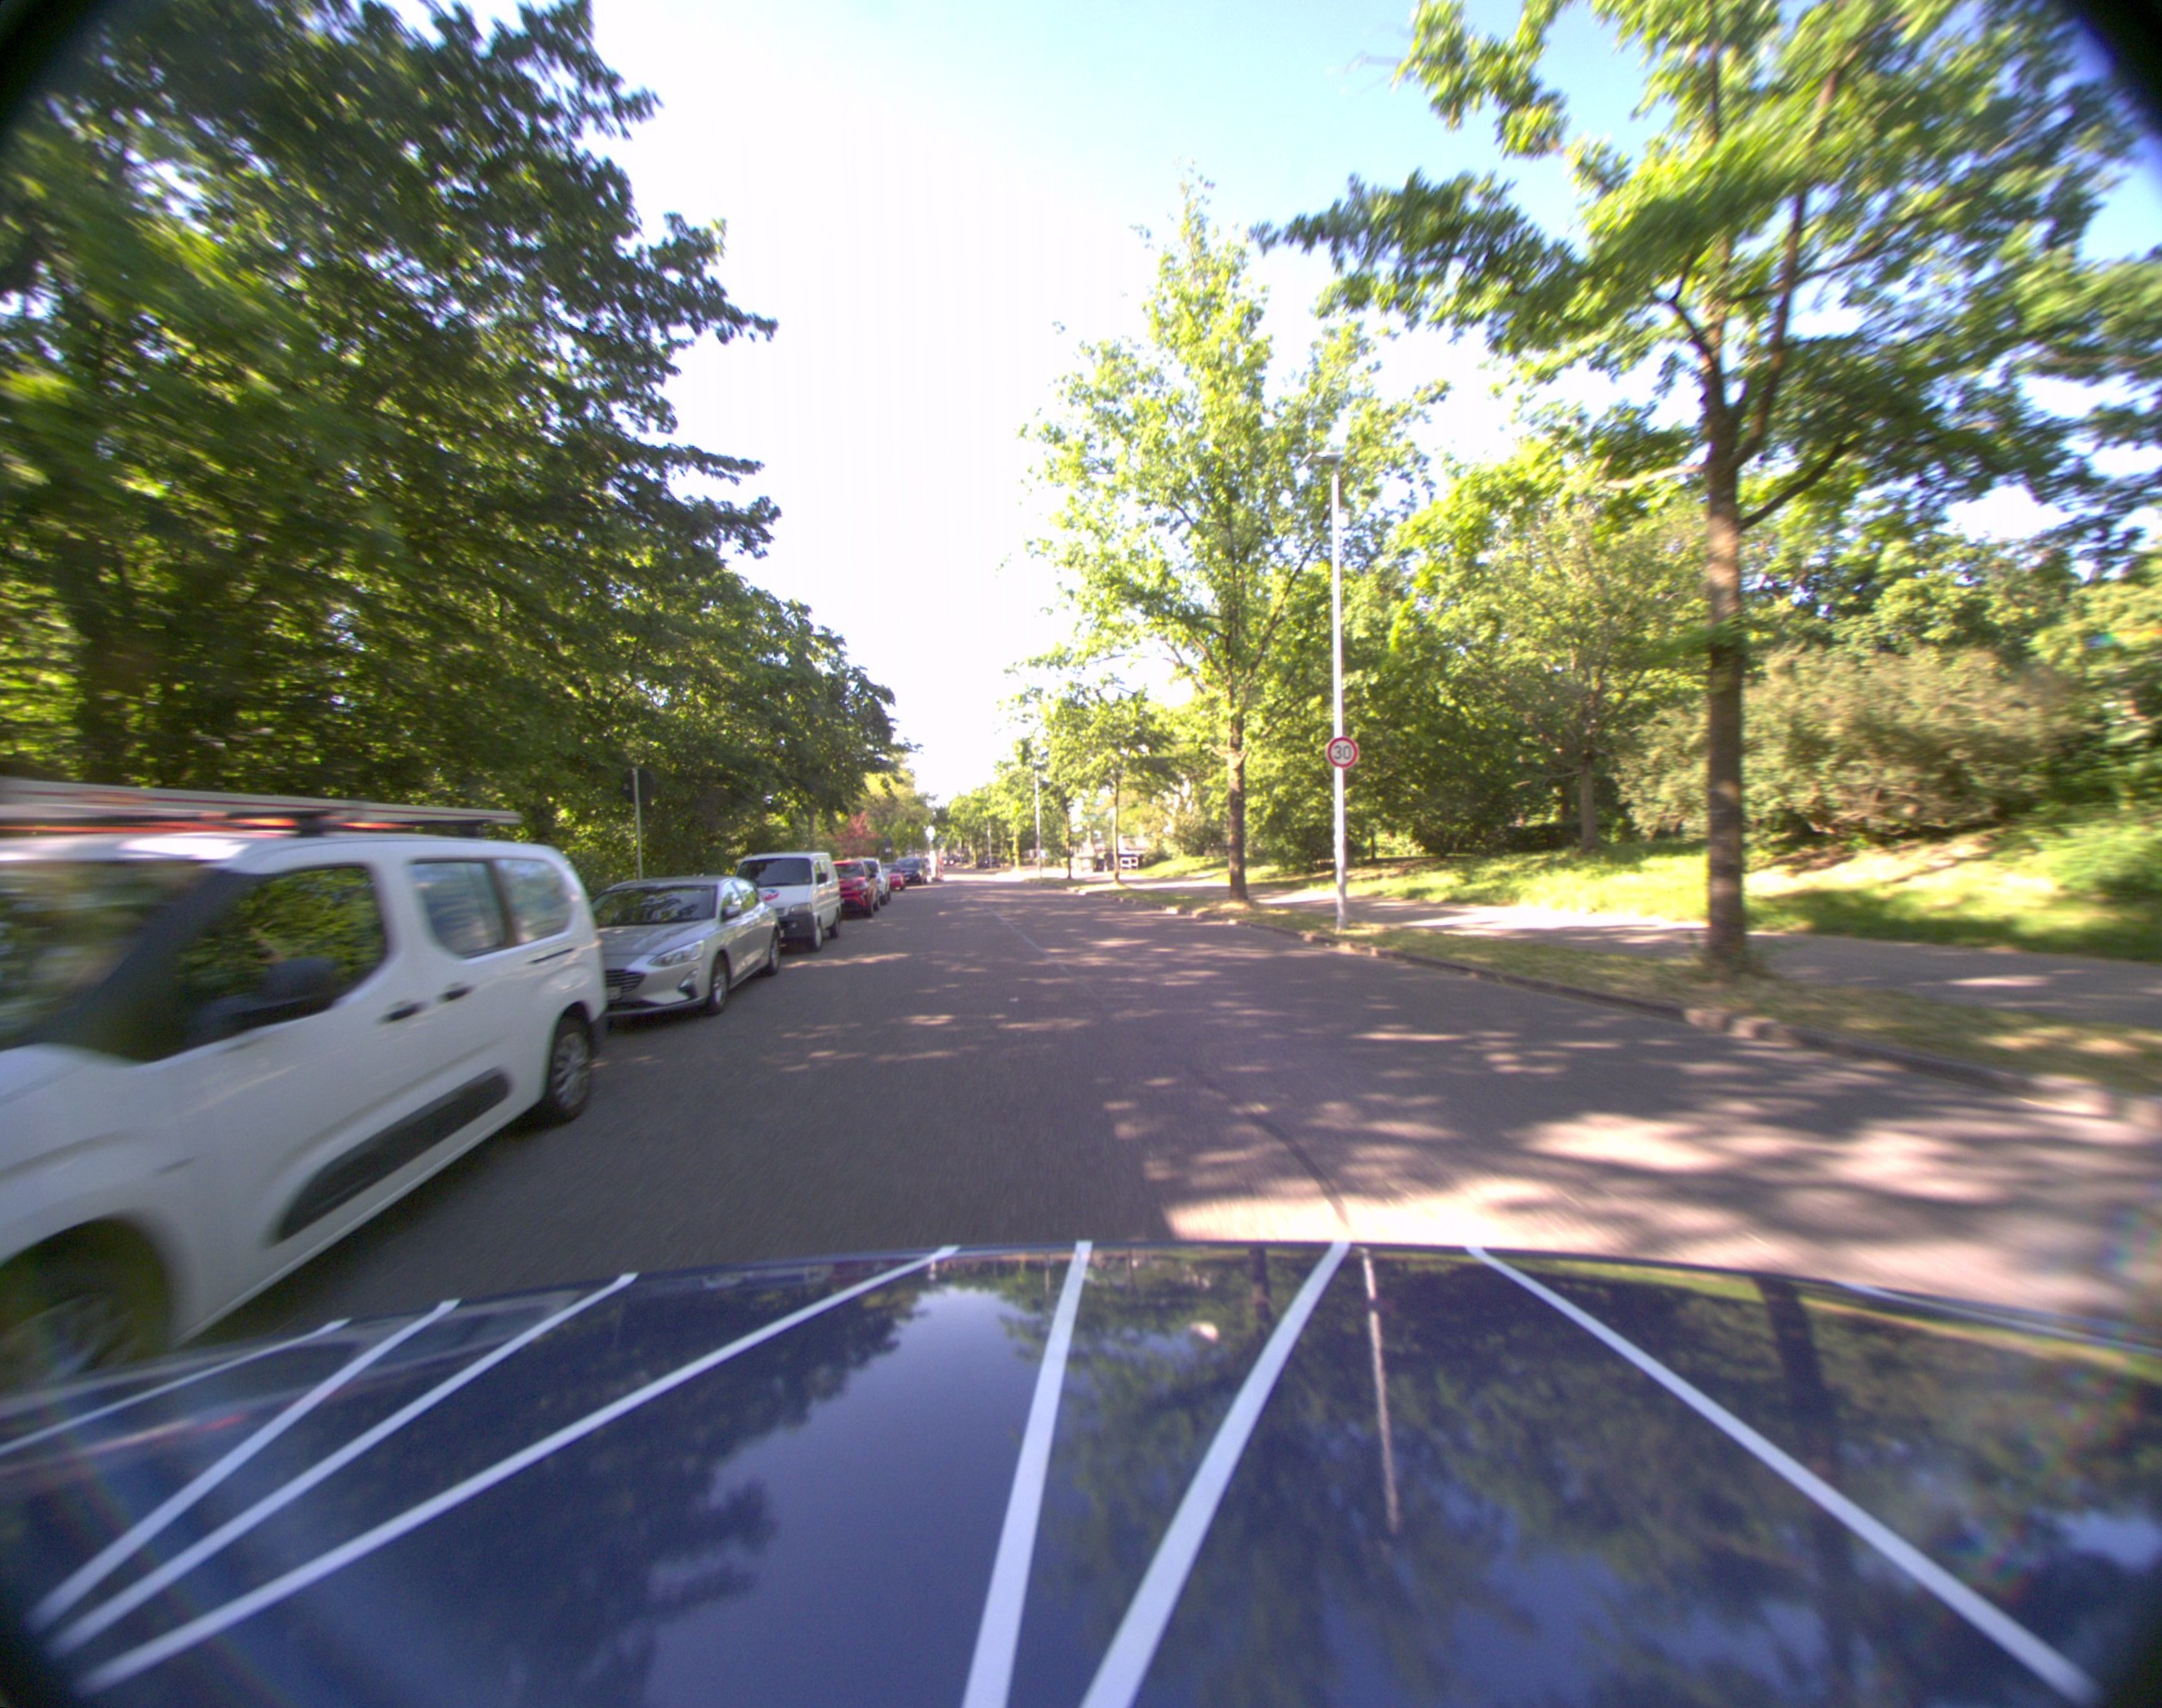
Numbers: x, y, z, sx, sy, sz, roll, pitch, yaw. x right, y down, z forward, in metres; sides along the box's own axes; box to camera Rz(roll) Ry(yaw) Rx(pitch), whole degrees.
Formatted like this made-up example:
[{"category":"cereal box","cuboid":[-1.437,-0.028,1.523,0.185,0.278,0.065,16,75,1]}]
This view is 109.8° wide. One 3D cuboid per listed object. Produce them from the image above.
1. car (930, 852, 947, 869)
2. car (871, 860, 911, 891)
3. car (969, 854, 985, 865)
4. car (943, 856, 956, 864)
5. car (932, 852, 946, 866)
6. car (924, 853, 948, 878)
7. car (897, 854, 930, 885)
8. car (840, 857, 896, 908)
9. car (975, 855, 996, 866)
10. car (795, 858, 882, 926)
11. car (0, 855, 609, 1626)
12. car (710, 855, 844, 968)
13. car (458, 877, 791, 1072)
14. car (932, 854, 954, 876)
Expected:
[{"category":"car","cuboid":[-14.422,0.630,77.166,1.422,1.644,3.907,-2,1,-8]},{"category":"car","cuboid":[-9.394,1.042,37.739,1.501,1.351,3.464,-2,1,-8]},{"category":"car","cuboid":[-15.995,0.790,116.895,2.001,1.574,3.995,-1,1,-12]},{"category":"car","cuboid":[-23.438,0.994,135.445,2.001,1.359,3.995,-1,1,-12]},{"category":"car","cuboid":[-16.907,0.589,90.380,1.422,1.644,3.907,-2,1,-8]},{"category":"car","cuboid":[-10.184,0.765,53.590,1.450,1.644,3.717,-2,1,-8]},{"category":"car","cuboid":[-9.718,0.880,44.281,1.501,1.644,4.088,-2,1,-8]},{"category":"car","cuboid":[-7.526,0.951,27.095,1.501,1.629,3.749,-2,1,-10]},{"category":"car","cuboid":[-12.245,0.794,97.279,2.001,1.359,3.994,-1,1,-16]},{"category":"car","cuboid":[-6.703,0.984,21.370,1.774,1.629,3.749,-2,1,-10]},{"category":"car","cuboid":[-3.651,0.920,2.816,1.756,1.739,4.628,-2,1,-13]},{"category":"car","cuboid":[-5.466,0.923,14.105,1.501,1.744,3.798,-2,1,-10]},{"category":"car","cuboid":[-4.795,1.097,8.874,1.724,1.436,4.610,-3,0,-10]},{"category":"car","cuboid":[-10.675,0.819,58.866,1.450,1.644,3.717,-2,1,-8]}]
